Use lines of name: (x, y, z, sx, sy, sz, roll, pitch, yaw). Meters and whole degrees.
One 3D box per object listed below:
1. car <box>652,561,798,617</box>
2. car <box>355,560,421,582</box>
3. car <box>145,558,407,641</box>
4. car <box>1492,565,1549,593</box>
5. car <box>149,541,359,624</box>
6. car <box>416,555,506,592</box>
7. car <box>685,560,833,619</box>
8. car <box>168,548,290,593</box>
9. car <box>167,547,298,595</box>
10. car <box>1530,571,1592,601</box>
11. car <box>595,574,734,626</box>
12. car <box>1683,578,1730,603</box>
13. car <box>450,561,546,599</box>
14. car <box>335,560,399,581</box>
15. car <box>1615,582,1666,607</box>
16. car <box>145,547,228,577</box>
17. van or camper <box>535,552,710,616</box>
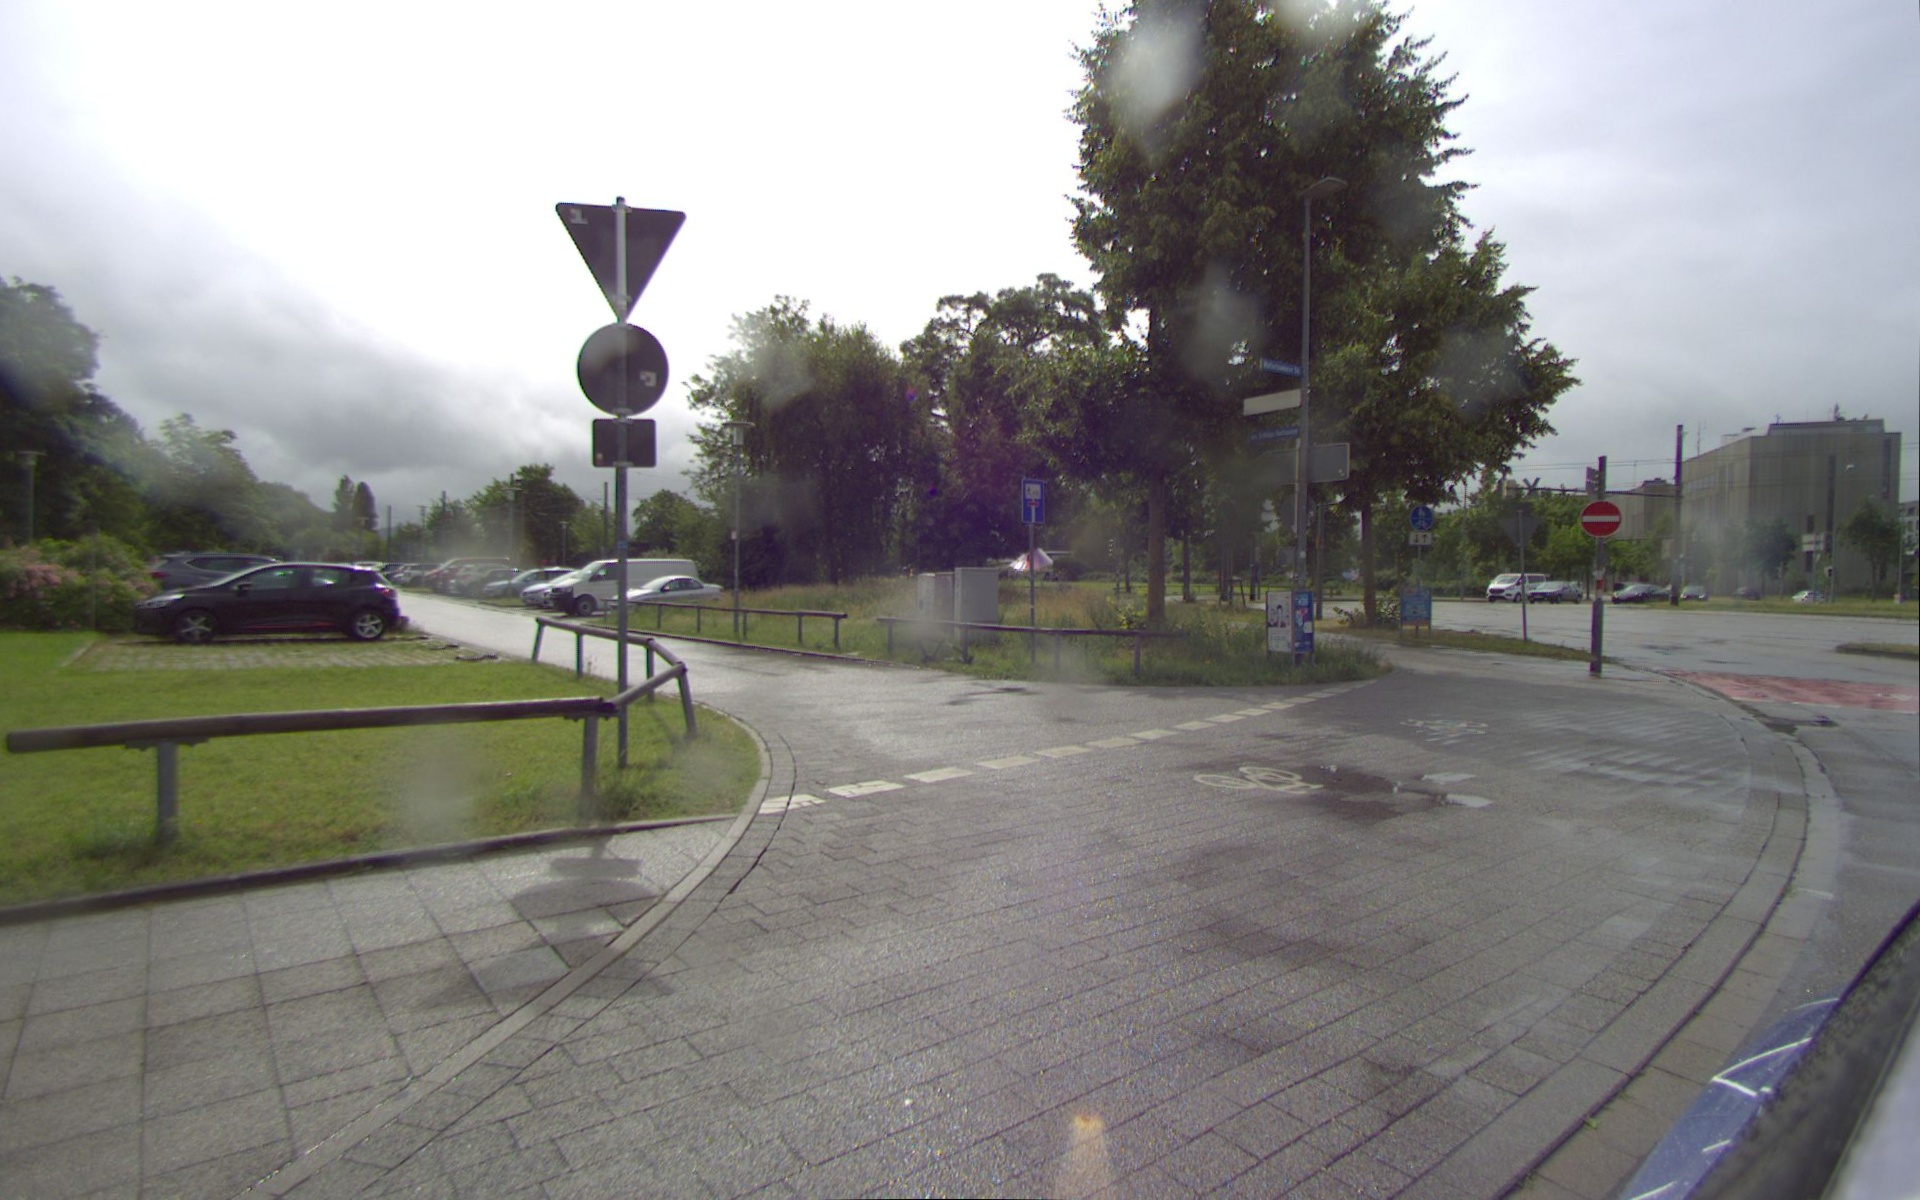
car: (-7.173, -0.345, 31.084, 3.929, 1.568, 1.934, 0, 2, -40)
car: (-43.154, -2.195, 76.380, 4.121, 1.568, 1.934, 0, 2, -40)
car: (-12.294, -0.029, 18.315, 3.806, 1.342, 1.390, 0, 2, -40)
car: (38.095, -1.420, 68.738, 4.152, 1.734, 1.892, 0, 2, -38)
car: (-17.176, -0.429, 24.702, 4.059, 1.872, 1.934, 0, 2, -40)
car: (-27.887, -1.472, 56.643, 4.197, 1.952, 1.934, 0, 2, -40)
car: (-5.751, -0.320, 29.122, 3.704, 1.568, 1.934, 0, 2, -40)
car: (-32.652, -1.310, 45.266, 4.313, 1.872, 1.934, 0, 2, -40)
car: (-30.251, -1.204, 42.135, 4.313, 1.872, 1.934, 0, 2, -40)
car: (37.009, -0.859, 62.284, 4.124, 1.709, 1.670, 1, 1, -33)
car: (-9.610, -0.027, 33.039, 3.929, 1.568, 1.934, 0, 2, -40)
car: (56.663, -0.734, 76.802, 3.928, 1.771, 1.868, 0, 2, -39)
car: (-22.501, -0.960, 49.335, 3.929, 1.760, 1.934, 0, 2, -40)
car: (-47.310, -2.345, 80.781, 4.121, 1.568, 1.934, 0, 2, -40)
car: (45.990, -0.372, 68.396, 3.928, 1.616, 1.769, 0, 1, -39)
car: (-50.989, -2.506, 66.742, 4.313, 1.872, 1.934, 0, 2, -40)
van or camper: (-11.950, -0.534, 36.076, 5.575, 2.130, 1.999, 1, 1, -38)
